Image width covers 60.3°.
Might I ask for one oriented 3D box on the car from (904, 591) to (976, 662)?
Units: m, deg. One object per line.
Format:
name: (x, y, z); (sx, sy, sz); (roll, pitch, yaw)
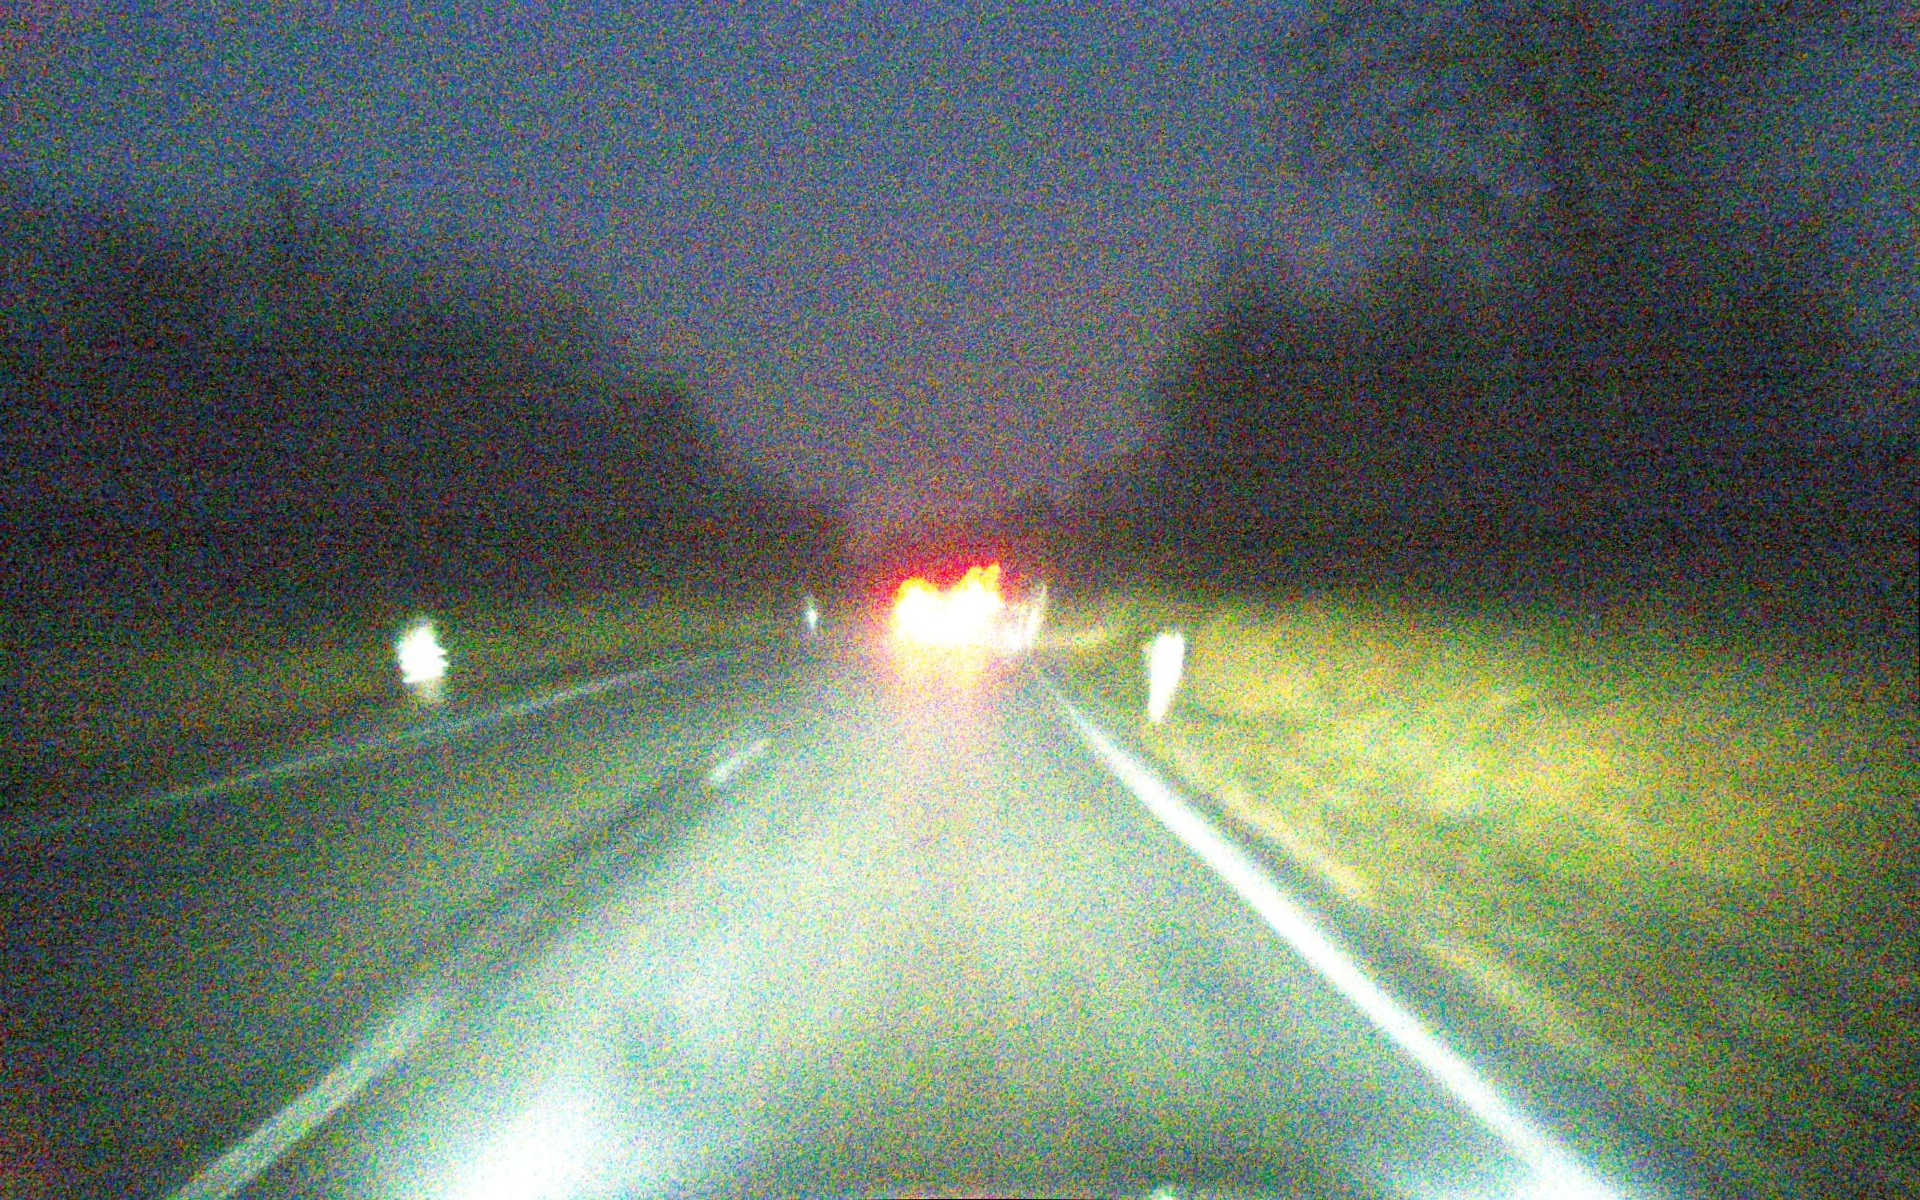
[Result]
car: (-0.483, 0.665, 43.972); (1.804, 1.771, 4.000); (0, 0, 1)
